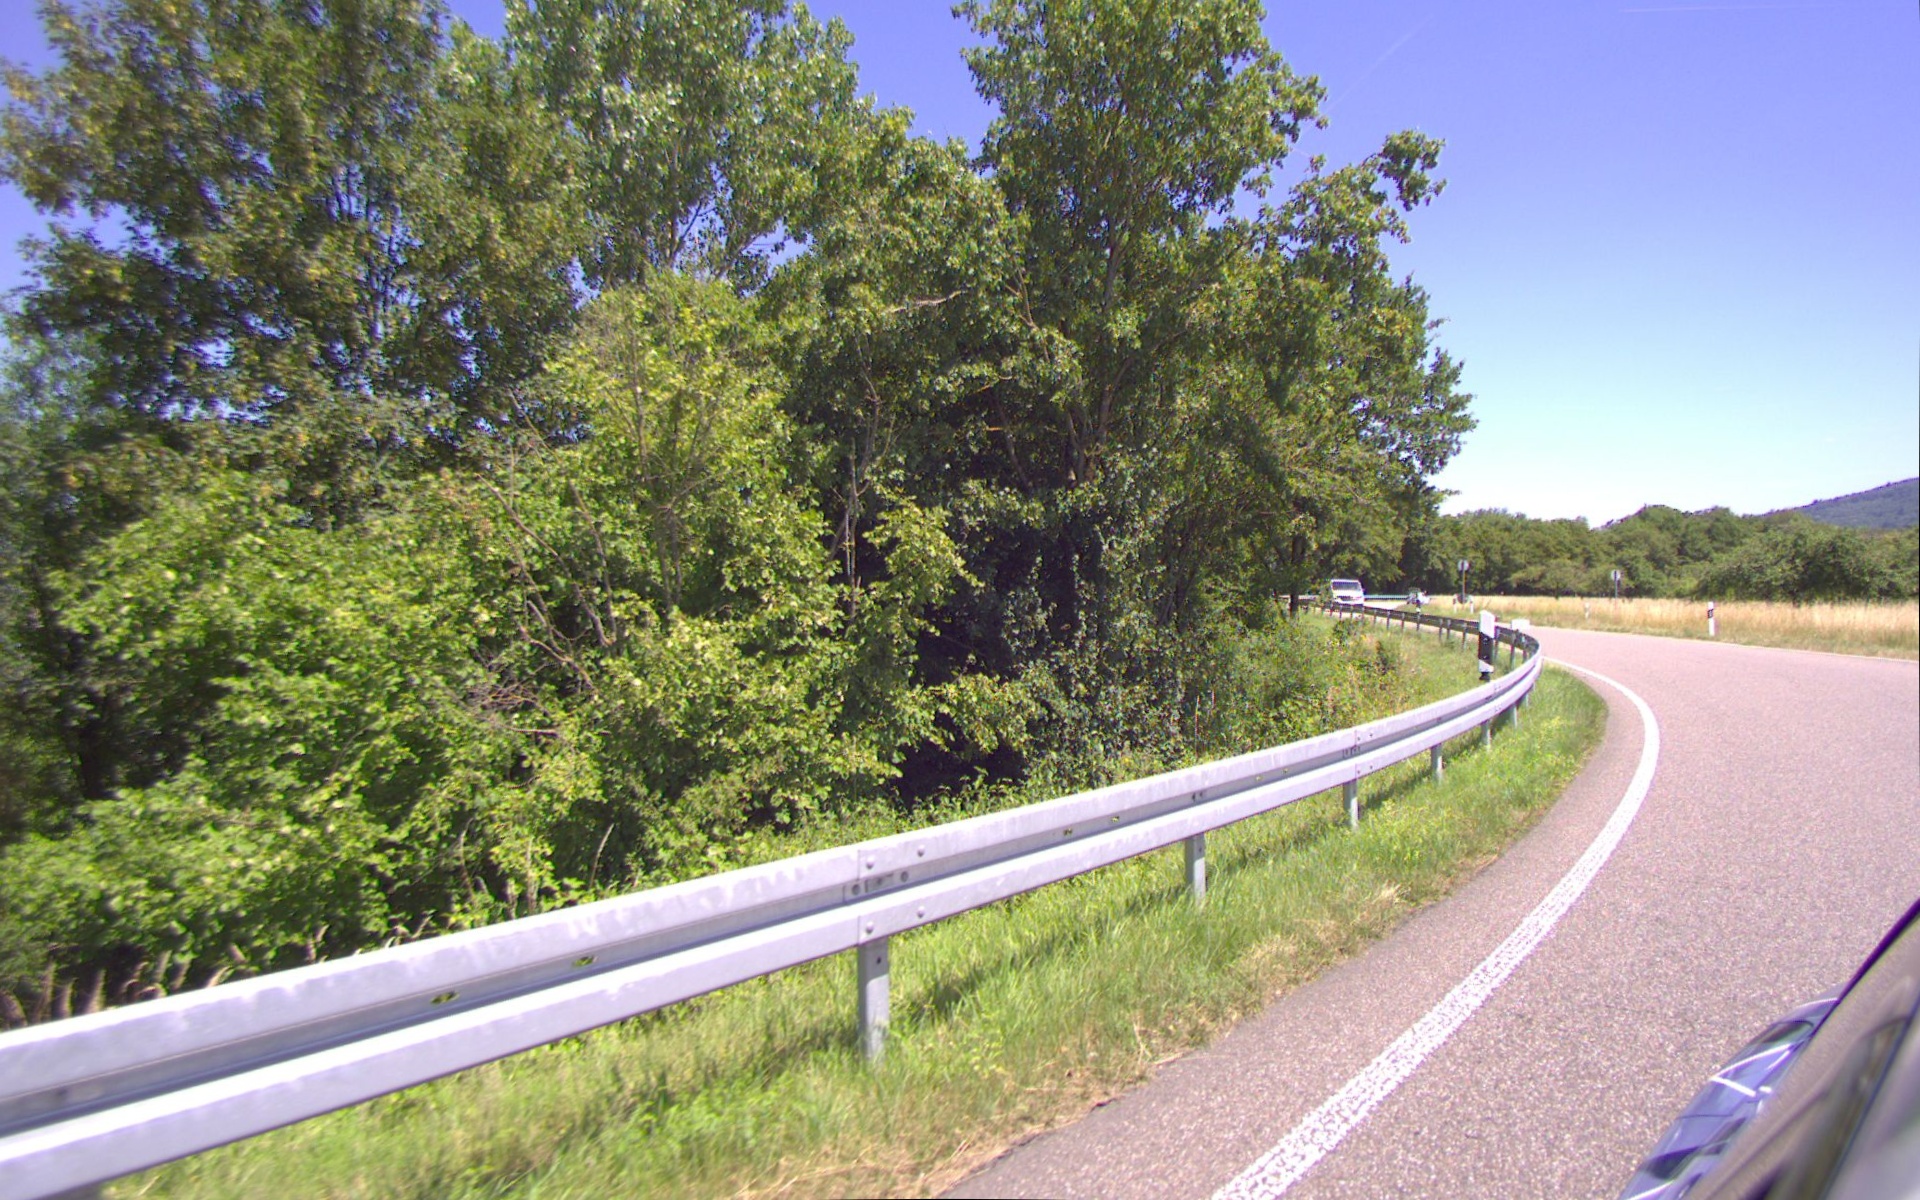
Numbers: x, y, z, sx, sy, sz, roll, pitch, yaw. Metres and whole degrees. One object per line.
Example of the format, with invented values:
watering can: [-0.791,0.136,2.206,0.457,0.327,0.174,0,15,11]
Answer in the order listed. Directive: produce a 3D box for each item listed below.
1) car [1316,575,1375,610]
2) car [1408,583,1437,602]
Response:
car: [23.660,-0.498,62.300,1.963,2.039,4.443,1,1,2]
car: [53.170,-0.881,116.287,1.990,2.039,4.382,2,1,39]
